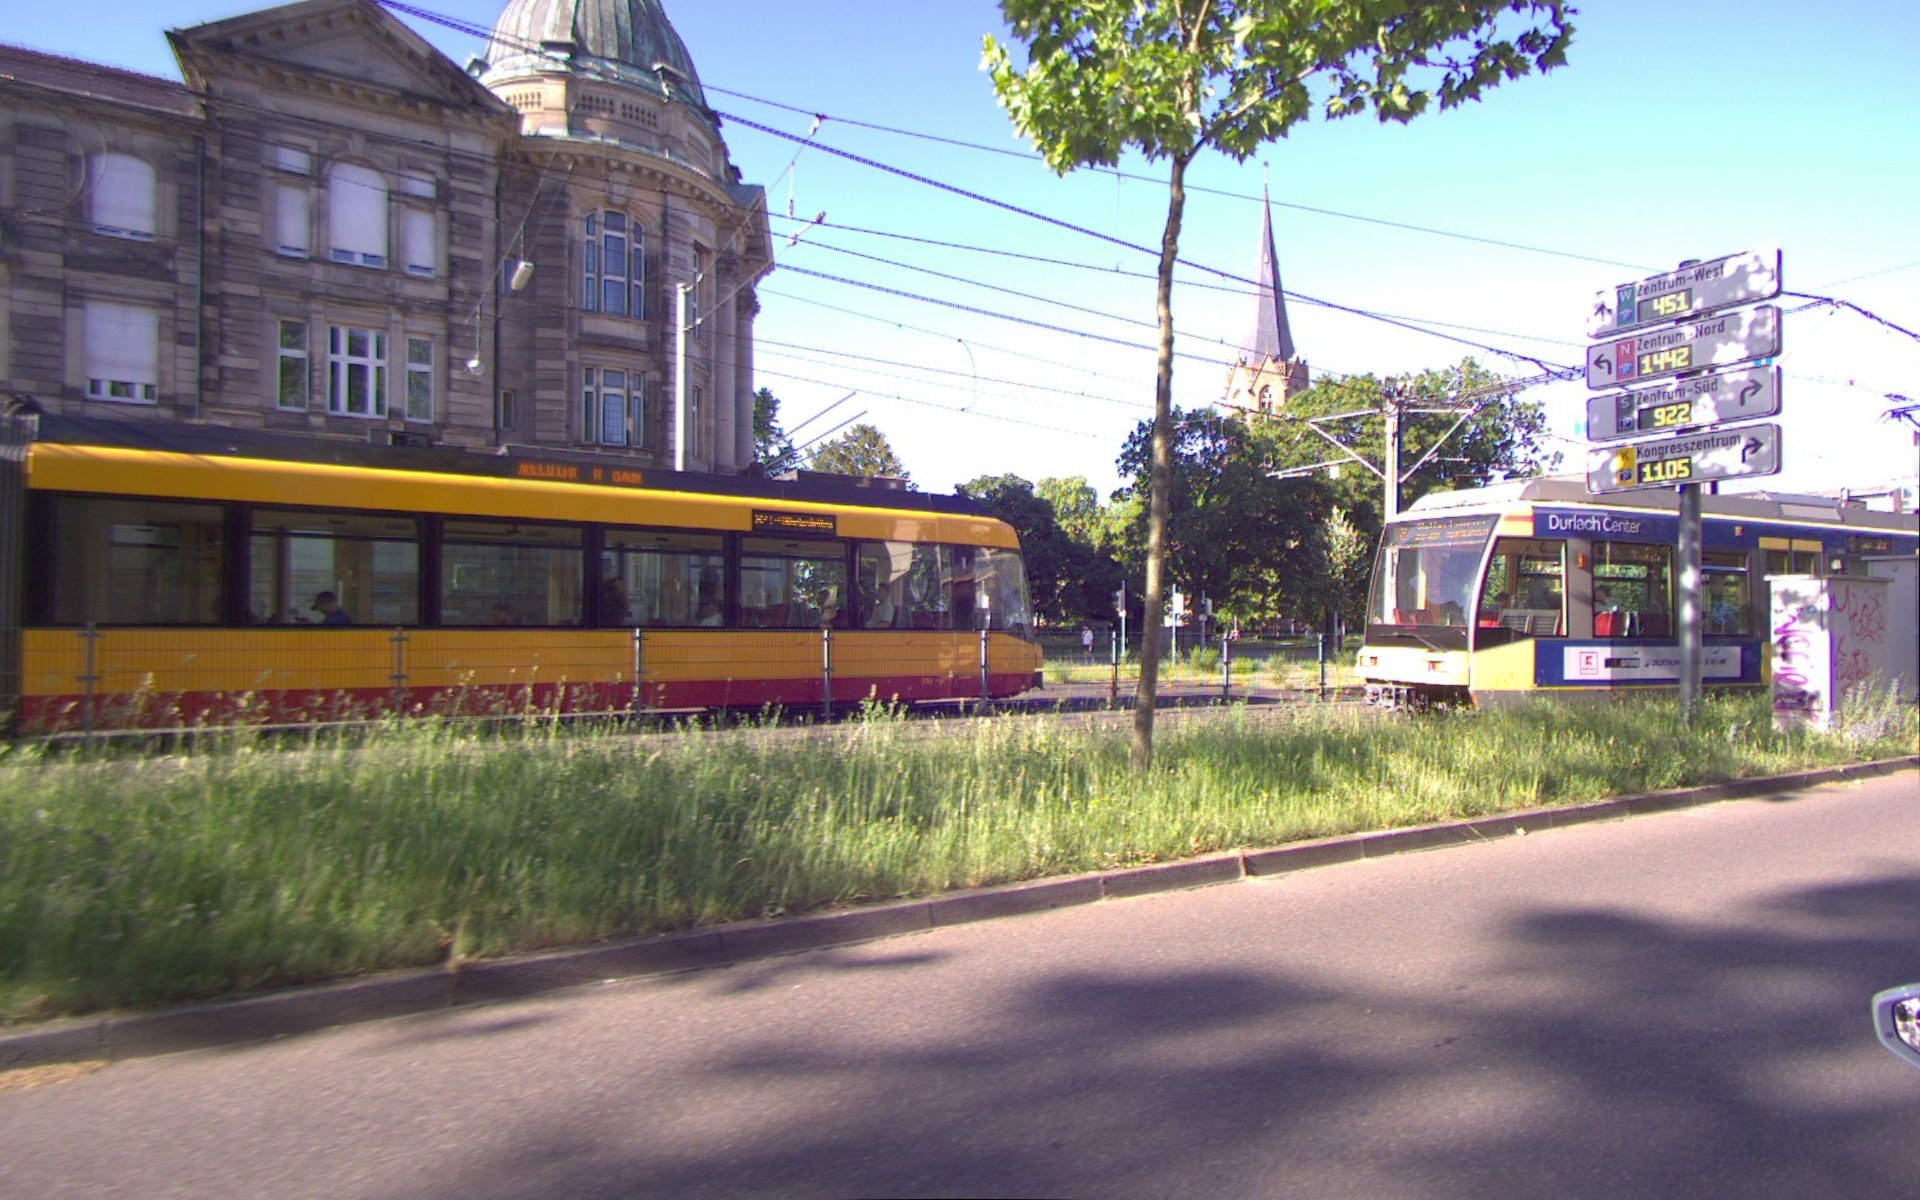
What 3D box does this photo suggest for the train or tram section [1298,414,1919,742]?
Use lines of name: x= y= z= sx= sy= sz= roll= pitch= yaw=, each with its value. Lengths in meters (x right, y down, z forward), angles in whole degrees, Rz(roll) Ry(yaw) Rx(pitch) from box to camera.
train or tram section: x=11.943 y=-0.035 z=16.025 sx=14.074 sy=3.863 sz=2.921 roll=2 pitch=0 yaw=-24

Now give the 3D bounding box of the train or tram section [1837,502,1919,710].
train or tram section: x=20.064 y=0.170 z=19.769 sx=3.816 sy=3.949 sz=2.944 roll=2 pitch=0 yaw=-27

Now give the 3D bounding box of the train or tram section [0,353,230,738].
train or tram section: x=-10.869 y=-0.541 z=9.623 sx=5.994 sy=3.530 sz=2.940 roll=2 pitch=0 yaw=-33

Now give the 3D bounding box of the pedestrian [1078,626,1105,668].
pedestrian: x=5.691 y=2.017 z=43.403 sx=0.747 sy=1.796 sz=0.921 roll=2 pitch=0 yaw=38

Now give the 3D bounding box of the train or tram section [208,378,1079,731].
train or tram section: x=-3.582 y=-0.319 z=14.344 sx=11.165 sy=3.530 sz=2.944 roll=2 pitch=0 yaw=-33

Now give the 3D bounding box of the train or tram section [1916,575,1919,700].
train or tram section: x=26.367 y=0.402 z=23.245 sx=10.669 sy=3.949 sz=2.940 roll=2 pitch=0 yaw=-28
